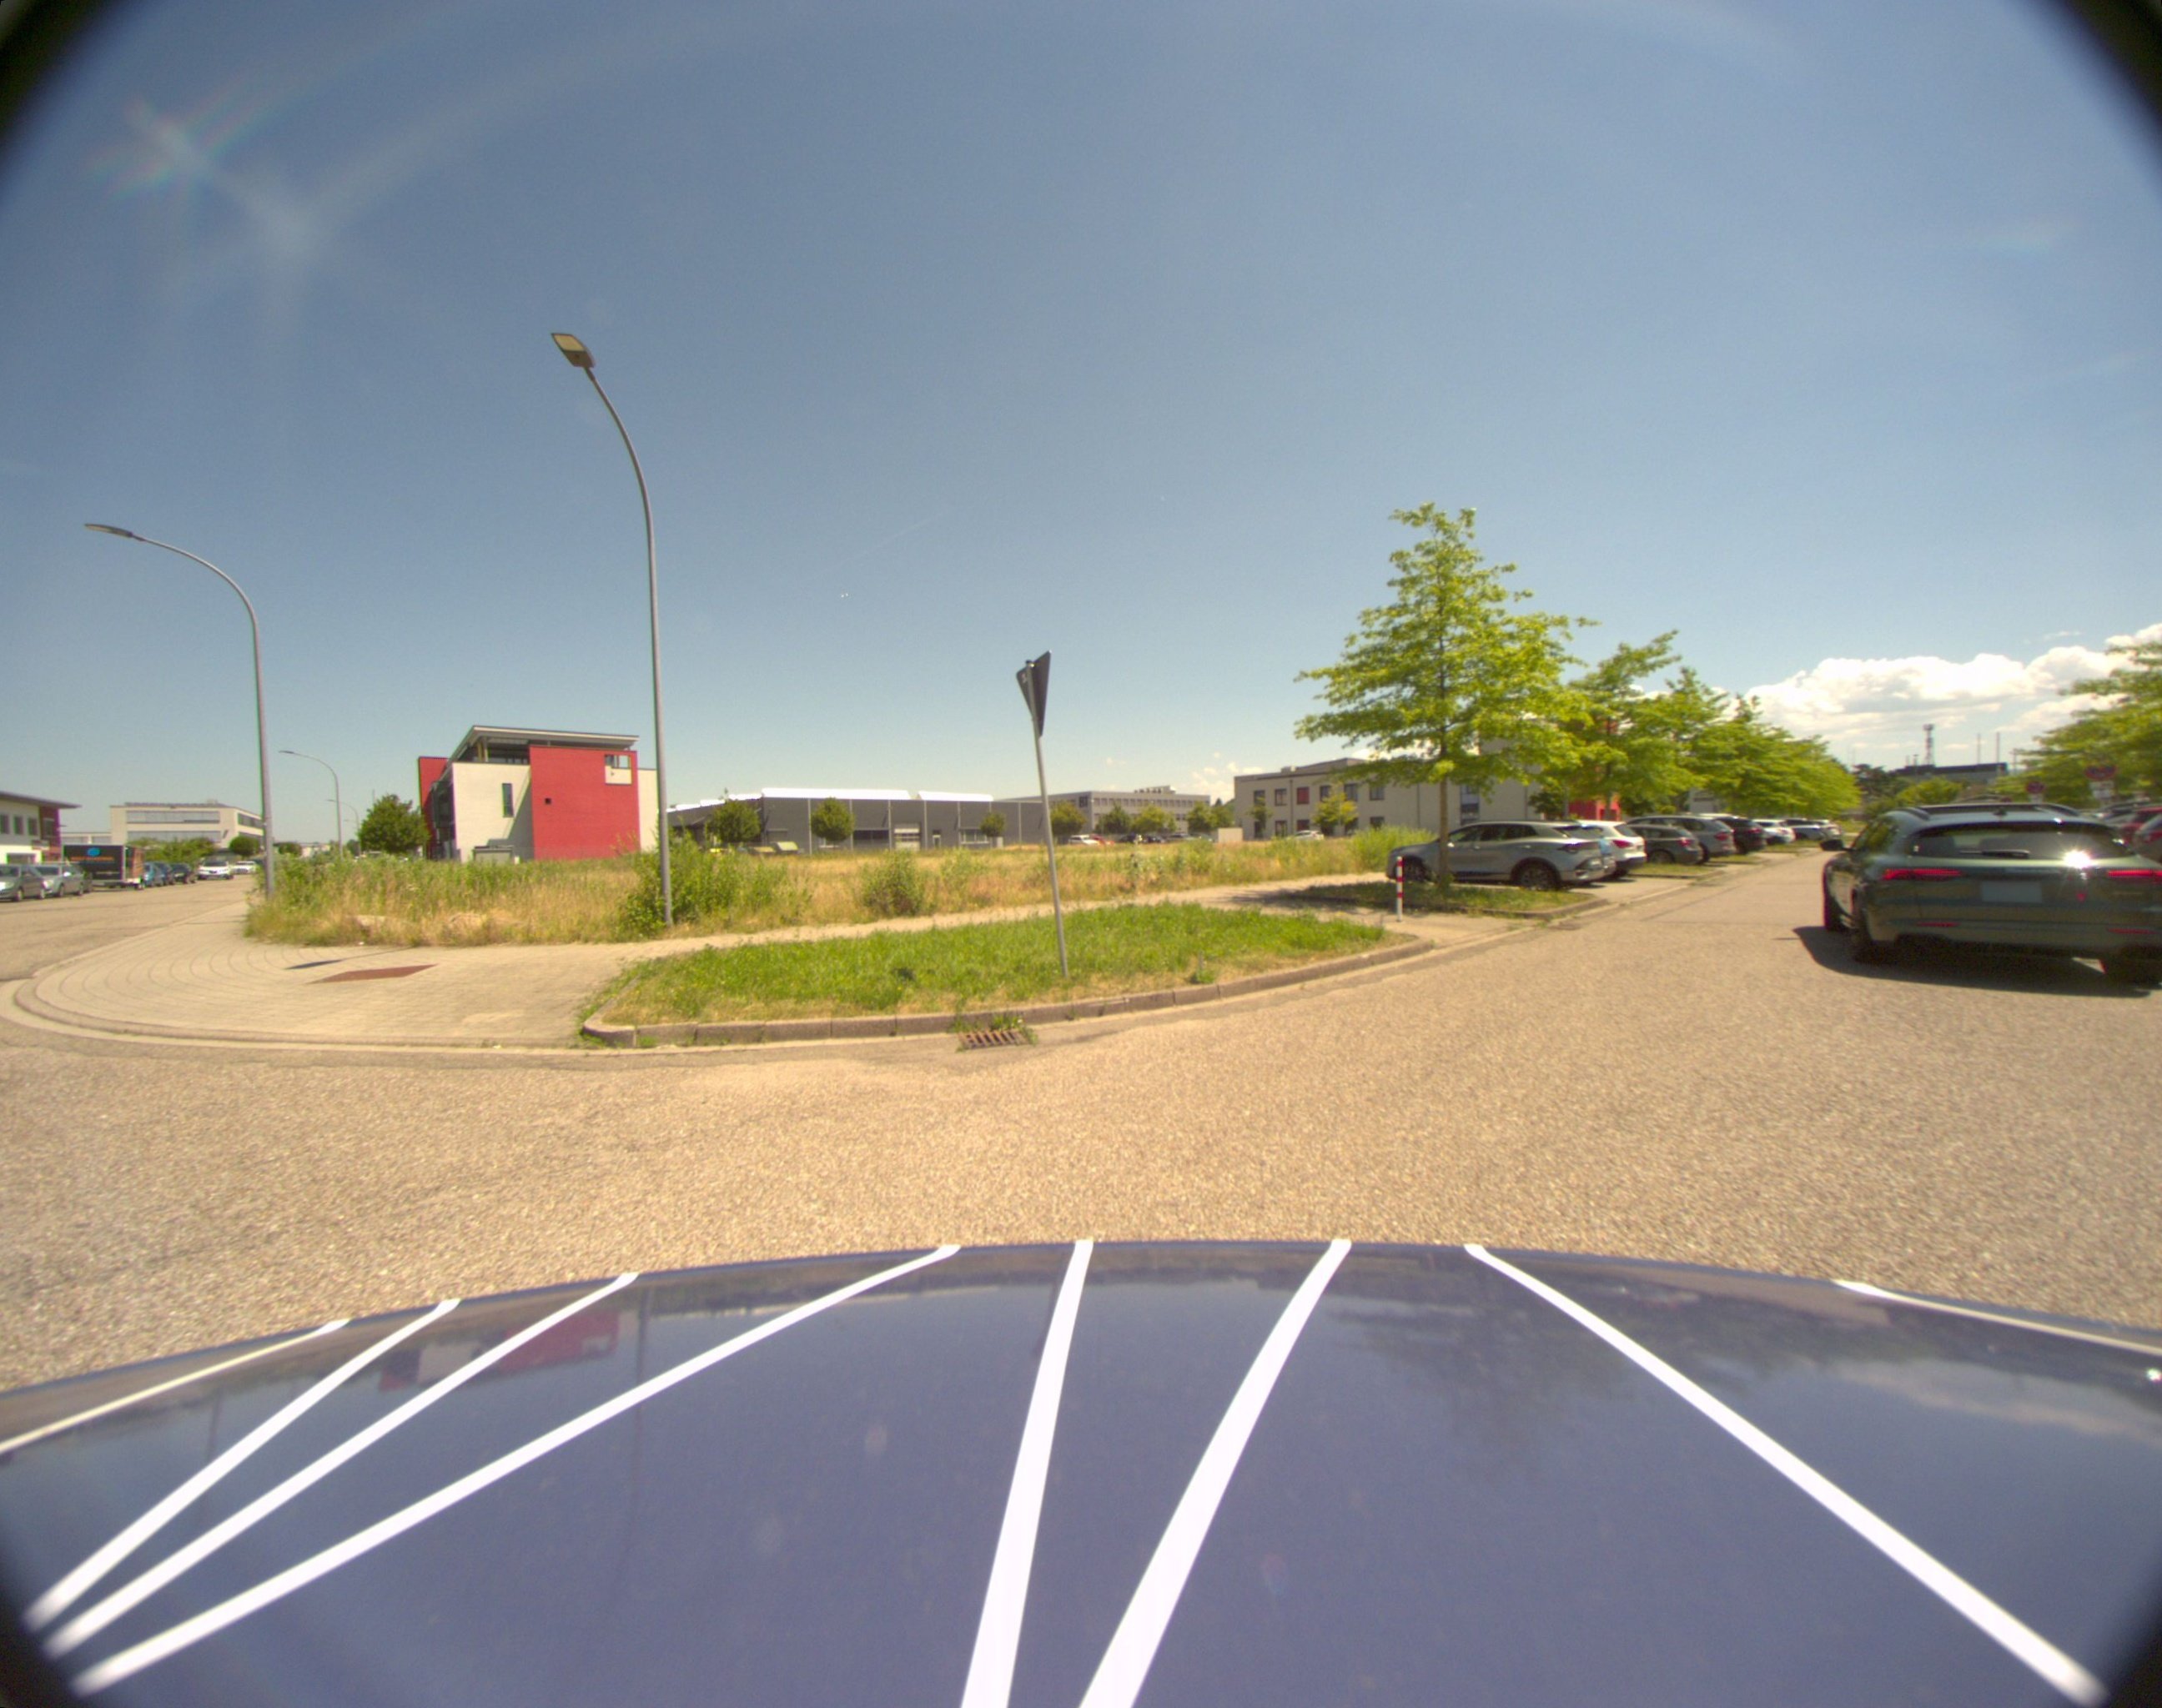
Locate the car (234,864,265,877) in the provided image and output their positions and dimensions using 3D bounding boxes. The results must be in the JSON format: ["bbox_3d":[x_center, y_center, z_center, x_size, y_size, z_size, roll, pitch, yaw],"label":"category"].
[{"bbox_3d":[-90.999,1.751,83.210,1.833,1.270,3.874,-3,2,-42],"label":"car"}]

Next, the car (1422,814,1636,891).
[{"bbox_3d":[11.314,-0.076,19.410,1.962,1.688,4.296,-4,3,-41],"label":"car"}]

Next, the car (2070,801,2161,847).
[{"bbox_3d":[36.808,-1.054,25.614,1.614,1.467,4.105,-3,1,-42],"label":"car"}]

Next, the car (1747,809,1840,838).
[{"bbox_3d":[45.884,-1.934,49.007,1.962,1.688,4.192,-4,3,-41],"label":"car"}]

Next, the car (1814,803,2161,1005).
[{"bbox_3d":[9.939,0.318,8.539,1.994,1.684,4.646,2,3,39],"label":"car"}]

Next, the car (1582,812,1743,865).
[{"bbox_3d":[20.401,-0.559,26.776,1.962,1.688,4.192,-4,3,-41],"label":"car"}]

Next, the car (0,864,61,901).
[{"bbox_3d":[-41.157,1.093,29.033,1.833,1.270,3.874,-3,2,-42],"label":"car"}]

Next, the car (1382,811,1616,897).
[{"bbox_3d":[9.490,-0.046,17.510,1.962,1.688,4.296,-4,3,-41],"label":"car"}]

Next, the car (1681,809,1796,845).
[{"bbox_3d":[33.511,-1.346,38.825,1.962,1.688,4.192,-4,3,-41],"label":"car"}]

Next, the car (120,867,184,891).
[{"bbox_3d":[-55.915,1.474,45.811,1.833,1.270,3.874,-3,2,-42],"label":"car"}]

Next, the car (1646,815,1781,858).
[{"bbox_3d":[27.226,-0.757,32.804,1.962,1.688,4.192,-4,3,-41],"label":"car"}]

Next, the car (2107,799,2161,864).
[{"bbox_3d":[26.145,-0.582,16.701,1.614,1.467,4.105,-3,1,-42],"label":"car"}]

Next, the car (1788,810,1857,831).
[{"bbox_3d":[65.216,-2.896,66.901,1.962,1.688,4.192,-4,3,-41],"label":"car"}]

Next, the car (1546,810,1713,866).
[{"bbox_3d":[18.213,-0.525,25.382,1.962,1.688,4.192,-4,3,-41],"label":"car"}]

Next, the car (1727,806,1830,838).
[{"bbox_3d":[40.709,-1.838,44.410,1.962,1.688,4.192,-4,3,-41],"label":"car"}]

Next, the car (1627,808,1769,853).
[{"bbox_3d":[24.958,-0.927,30.847,1.962,1.688,4.192,-4,3,-41],"label":"car"}]

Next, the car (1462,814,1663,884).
[{"bbox_3d":[13.166,-0.158,20.980,1.962,1.688,4.296,-4,3,-41],"label":"car"}]

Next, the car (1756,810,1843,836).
[{"bbox_3d":[49.500,-2.114,52.388,1.962,1.688,4.192,-4,3,-41],"label":"car"}]

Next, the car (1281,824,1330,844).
[{"bbox_3d":[21.500,-1.907,72.855,2.004,1.740,3.988,-3,2,-43],"label":"car"}]

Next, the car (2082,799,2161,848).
[{"bbox_3d":[34.872,-1.019,23.804,1.614,1.467,4.105,-3,1,-42],"label":"car"}]

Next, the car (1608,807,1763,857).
[{"bbox_3d":[22.320,-0.799,28.164,1.962,1.688,4.192,-4,3,-41],"label":"car"}]

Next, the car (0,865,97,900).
[{"bbox_3d":[-44.370,1.177,32.635,1.833,1.270,3.874,-3,2,-42],"label":"car"}]

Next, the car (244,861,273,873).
[{"bbox_3d":[-94.921,1.501,87.723,1.833,1.270,3.874,-3,2,-42],"label":"car"}]

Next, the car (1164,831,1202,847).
[{"bbox_3d":[11.695,-1.690,87.233,2.004,1.740,3.988,-3,2,-45],"label":"car"}]

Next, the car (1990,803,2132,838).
[{"bbox_3d":[47.441,-1.591,36.930,1.614,1.467,4.105,-3,1,-42],"label":"car"}]

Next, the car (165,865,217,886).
[{"bbox_3d":[-63.047,1.507,53.876,1.833,1.270,3.874,-3,2,-42],"label":"car"}]

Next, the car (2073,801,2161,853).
[{"bbox_3d":[32.719,-0.859,22.398,1.614,1.467,4.105,-3,1,-42],"label":"car"}]

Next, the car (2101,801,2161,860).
[{"bbox_3d":[28.278,-0.647,18.405,1.614,1.467,4.105,-3,1,-42],"label":"car"}]

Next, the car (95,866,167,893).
[{"bbox_3d":[-52.822,1.394,42.320,1.833,1.270,3.874,-3,2,-42],"label":"car"}]

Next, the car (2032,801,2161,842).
[{"bbox_3d":[41.349,-1.314,29.676,2.220,1.467,5.101,-3,1,-42],"label":"car"}]

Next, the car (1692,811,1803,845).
[{"bbox_3d":[35.562,-1.353,40.621,1.962,1.688,4.192,-4,3,-41],"label":"car"}]

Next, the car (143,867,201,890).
[{"bbox_3d":[-59.083,1.555,49.453,1.833,1.270,3.874,-3,2,-42],"label":"car"}]

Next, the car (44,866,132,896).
[{"bbox_3d":[-47.982,1.270,36.793,1.833,1.270,3.874,-3,2,-42],"label":"car"}]
